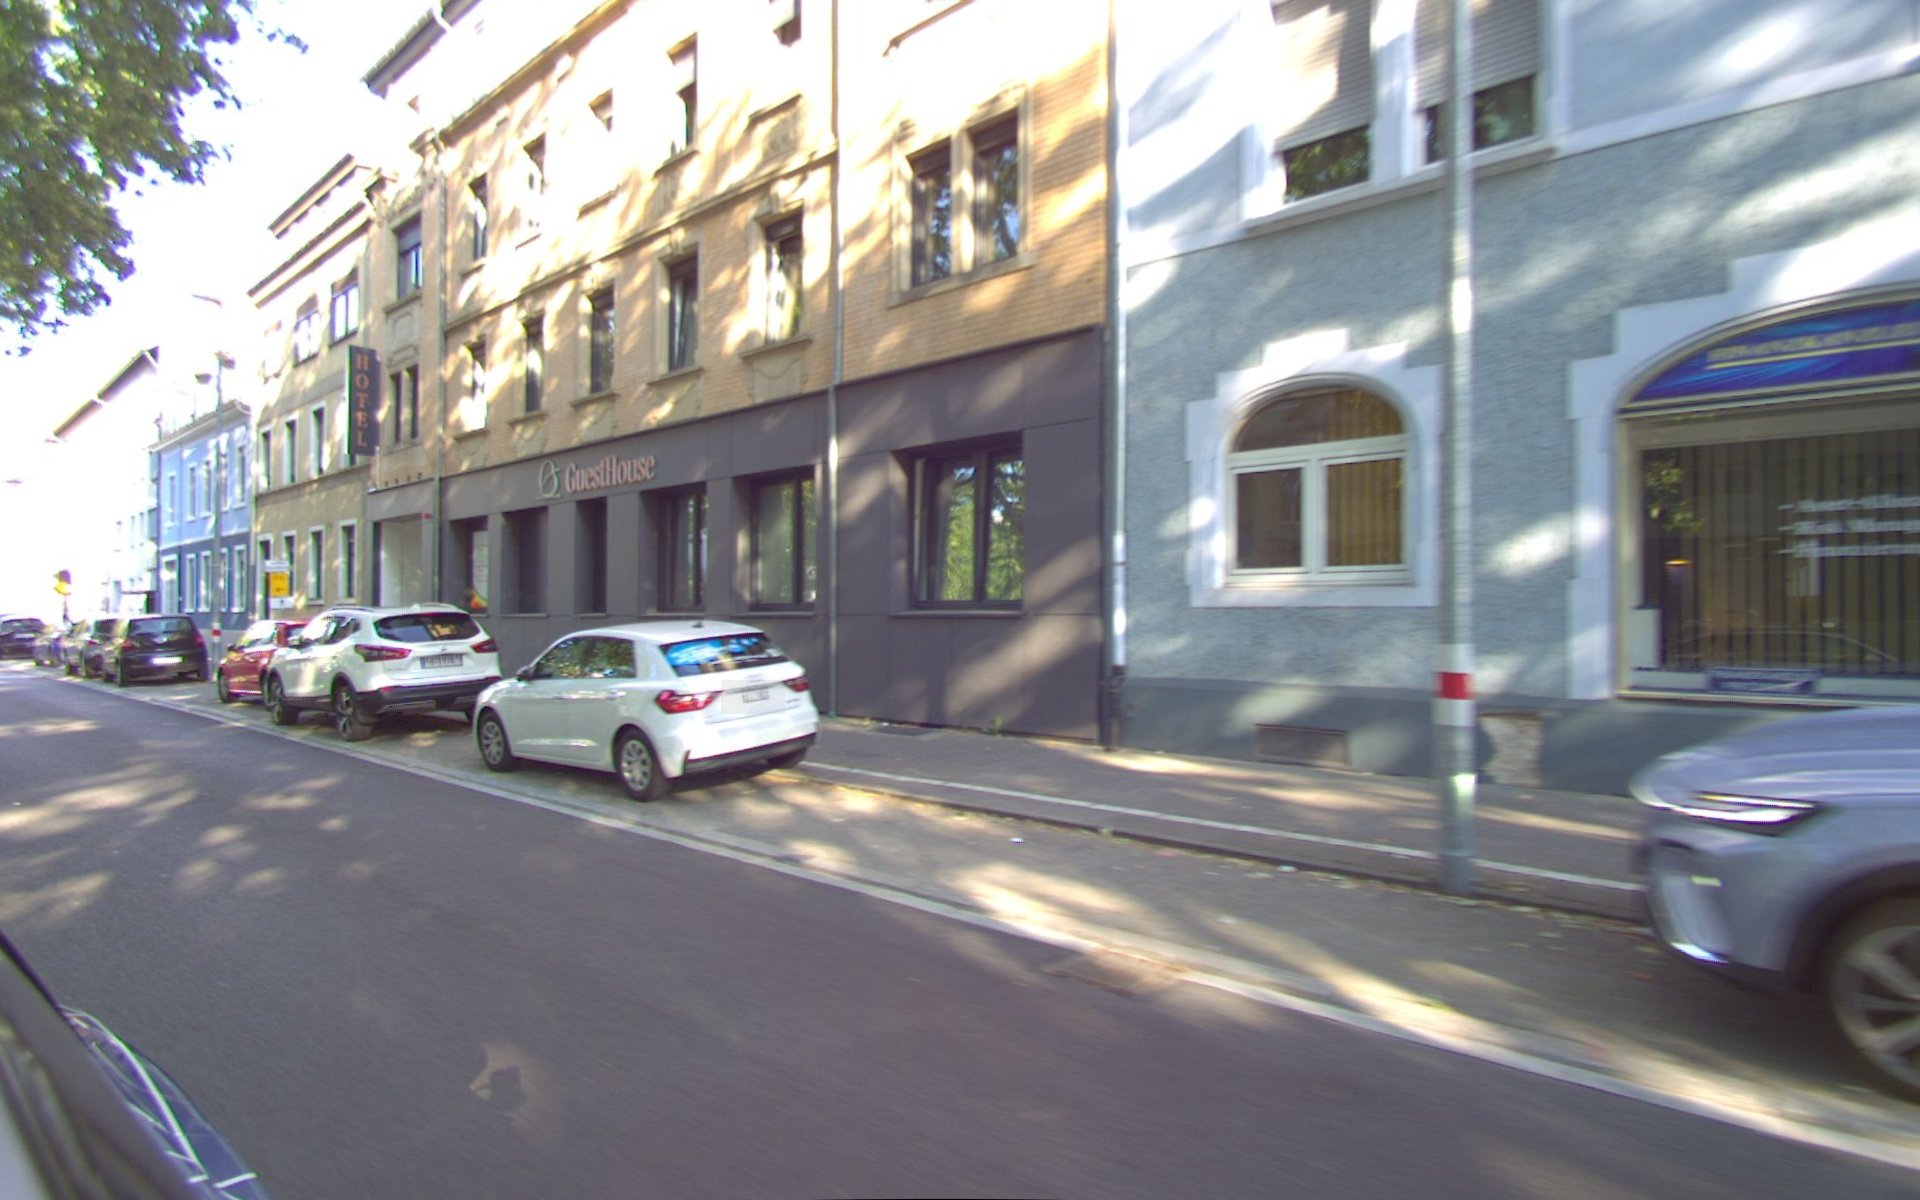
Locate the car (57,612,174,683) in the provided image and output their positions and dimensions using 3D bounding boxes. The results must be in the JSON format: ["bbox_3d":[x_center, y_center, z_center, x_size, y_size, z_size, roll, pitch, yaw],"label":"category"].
[{"bbox_3d":[-22.228,1.189,26.591,4.155,1.685,1.763,-1,0,42],"label":"car"}]

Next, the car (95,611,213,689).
[{"bbox_3d":[-18.686,1.093,23.416,3.706,1.617,1.659,-1,0,44],"label":"car"}]

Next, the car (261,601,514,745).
[{"bbox_3d":[-7.689,0.847,13.418,4.198,1.597,1.660,-1,0,42],"label":"car"}]

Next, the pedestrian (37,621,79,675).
[{"bbox_3d":[-27.053,1.433,30.350,0.706,1.582,0.853,-1,-2,44],"label":"pedestrian"}]

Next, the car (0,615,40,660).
[{"bbox_3d":[-40.853,1.602,43.452,4.005,1.832,1.646,-1,0,43],"label":"car"}]

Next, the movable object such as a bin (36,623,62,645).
[{"bbox_3d":[-52.622,1.960,58.446,1.018,1.296,1.064,1,-2,-38],"label":"movable object such as a bin"}]

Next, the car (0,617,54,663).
[{"bbox_3d":[-36.846,1.527,39.545,4.495,1.685,1.884,-1,0,45],"label":"car"}]

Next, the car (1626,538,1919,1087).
[{"bbox_3d":[4.661,0.604,2.712,4.576,1.654,1.888,-1,0,42],"label":"car"}]

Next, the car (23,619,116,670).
[{"bbox_3d":[-29.090,1.406,33.016,4.259,1.498,1.633,-1,0,40],"label":"car"}]

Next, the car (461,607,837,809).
[{"bbox_3d":[-3.092,0.856,9.648,3.870,1.507,1.660,-1,0,42],"label":"car"}]

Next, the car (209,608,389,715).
[{"bbox_3d":[-11.349,0.967,17.289,3.755,1.604,1.660,-1,0,42],"label":"car"}]
